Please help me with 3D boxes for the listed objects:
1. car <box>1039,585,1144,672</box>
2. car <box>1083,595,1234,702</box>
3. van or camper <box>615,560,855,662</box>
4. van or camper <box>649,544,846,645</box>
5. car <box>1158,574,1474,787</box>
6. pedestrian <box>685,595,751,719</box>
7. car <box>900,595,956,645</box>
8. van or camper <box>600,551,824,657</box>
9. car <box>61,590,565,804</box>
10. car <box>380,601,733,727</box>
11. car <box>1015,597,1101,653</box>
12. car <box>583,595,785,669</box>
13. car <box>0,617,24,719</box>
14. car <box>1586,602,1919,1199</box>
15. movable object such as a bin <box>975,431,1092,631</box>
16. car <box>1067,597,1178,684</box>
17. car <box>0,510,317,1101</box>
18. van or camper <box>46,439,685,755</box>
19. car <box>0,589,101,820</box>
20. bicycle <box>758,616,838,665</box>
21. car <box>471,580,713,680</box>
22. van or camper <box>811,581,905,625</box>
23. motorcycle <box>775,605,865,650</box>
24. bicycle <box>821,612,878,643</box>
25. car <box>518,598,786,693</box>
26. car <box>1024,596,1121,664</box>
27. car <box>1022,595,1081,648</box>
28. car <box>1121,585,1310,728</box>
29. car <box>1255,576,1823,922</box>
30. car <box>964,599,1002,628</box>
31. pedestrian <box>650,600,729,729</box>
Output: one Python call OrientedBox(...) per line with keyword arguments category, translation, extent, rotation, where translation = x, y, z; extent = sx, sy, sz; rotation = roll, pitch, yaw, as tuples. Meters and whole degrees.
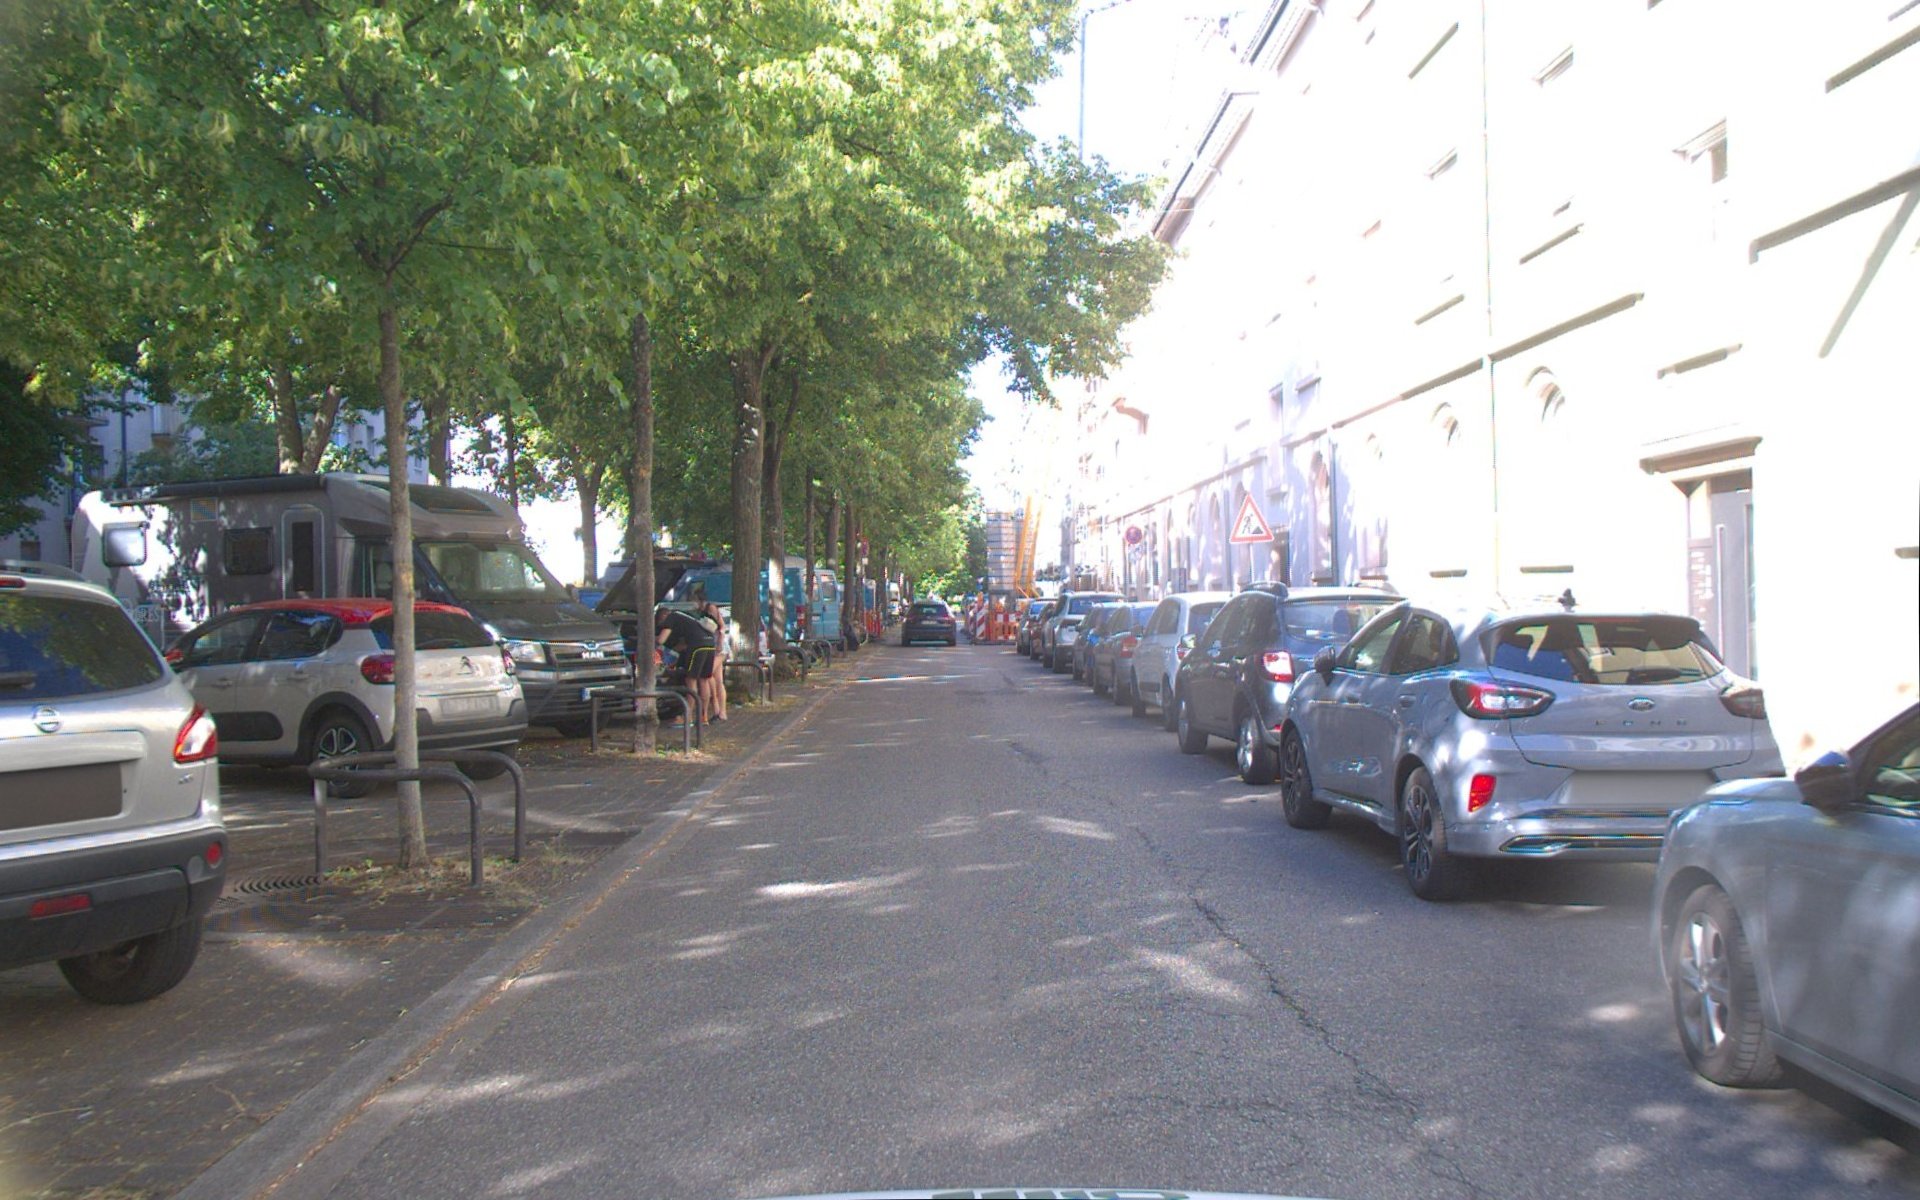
OrientedBox(category="car", translation=(2.741, 0.558, 35.377), extent=(1.779, 1.703, 4.672), rotation=(-1, 0, -1))
OrientedBox(category="car", translation=(2.875, 0.659, 24.737), extent=(1.598, 1.437, 4.087), rotation=(-1, 0, -2))
OrientedBox(category="van or camper", translation=(-5.489, 0.278, 40.307), extent=(5.386, 2.315, 2.220), rotation=(-1, 0, 23))
OrientedBox(category="van or camper", translation=(-7.441, -0.161, 57.628), extent=(6.528, 3.297, 2.492), rotation=(-1, 0, 28))
OrientedBox(category="car", translation=(3.026, 0.613, 14.954), extent=(1.688, 1.624, 4.155), rotation=(-1, 0, -4))
OrientedBox(category="pedestrian", translation=(-2.945, 0.685, 20.145), extent=(0.602, 1.481, 0.519), rotation=(-1, 0, 22))
OrientedBox(category="car", translation=(-1.072, 0.632, 54.565), extent=(1.761, 1.530, 3.584), rotation=(-1, 0, -2))
OrientedBox(category="van or camper", translation=(-6.699, 0.130, 44.535), extent=(5.756, 2.683, 2.252), rotation=(-1, 0, 29))
OrientedBox(category="car", translation=(-5.382, 0.736, 13.712), extent=(3.910, 1.533, 1.755), rotation=(-1, 0, 28))
OrientedBox(category="car", translation=(-5.103, 0.766, 20.847), extent=(4.230, 1.449, 1.674), rotation=(-1, 0, 26))
OrientedBox(category="car", translation=(2.636, 0.637, 45.343), extent=(1.953, 1.434, 4.499), rotation=(0, 0, -2))
OrientedBox(category="car", translation=(-5.804, 0.668, 34.797), extent=(3.867, 1.468, 1.844), rotation=(-1, 0, 27))
OrientedBox(category="car", translation=(-15.289, 1.043, 23.709), extent=(1.630, 1.525, 3.769), rotation=(-1, 0, -1))
OrientedBox(category="car", translation=(3.202, 0.751, 4.042), extent=(1.687, 1.457, 4.157), rotation=(-1, 0, -1))
OrientedBox(category="movable object such as a bin", translation=(2.610, -2.374, 58.717), extent=(3.415, 6.878, 2.363), rotation=(-1, 0, 32))
OrientedBox(category="car", translation=(2.873, 0.688, 29.887), extent=(1.585, 1.437, 3.787), rotation=(-1, 0, -1))
OrientedBox(category="car", translation=(-4.451, 0.615, 5.964), extent=(4.054, 1.709, 1.757), rotation=(-1, 0, 28))
OrientedBox(category="van or camper", translation=(-6.640, 0.027, 18.186), extent=(7.084, 2.981, 2.312), rotation=(-1, 0, 26))
OrientedBox(category="car", translation=(-7.974, 0.736, 11.835), extent=(3.469, 1.533, 1.753), rotation=(-1, 0, 33))
OrientedBox(category="bicycle", translation=(-3.583, 0.889, 36.660), extent=(1.702, 1.023, 0.506), rotation=(-1, 0, -31))
OrientedBox(category="car", translation=(-7.079, 0.556, 31.720), extent=(4.460, 1.795, 1.807), rotation=(-1, 0, 30))
OrientedBox(category="van or camper", translation=(-6.120, 0.199, 99.326), extent=(5.235, 2.518, 2.289), rotation=(-1, 0, 31))
OrientedBox(category="motorcycle", translation=(-4.103, 0.795, 48.518), extent=(2.495, 1.280, 0.763), rotation=(-1, 0, 7))
OrientedBox(category="bicycle", translation=(-3.675, 0.911, 54.974), extent=(1.858, 1.024, 0.430), rotation=(-1, 0, 23))
OrientedBox(category="car", translation=(-5.193, 0.731, 27.707), extent=(4.393, 1.468, 1.728), rotation=(-1, 0, 32))
OrientedBox(category="car", translation=(2.721, 0.692, 40.773), extent=(1.756, 1.550, 3.959), rotation=(-1, 0, -5))
OrientedBox(category="car", translation=(2.758, 0.628, 50.293), extent=(1.560, 1.557, 2.779), rotation=(0, 0, -2))
OrientedBox(category="car", translation=(3.017, 0.617, 20.148), extent=(1.598, 1.561, 3.591), rotation=(-1, 0, -2))
OrientedBox(category="car", translation=(3.050, 0.675, 9.703), extent=(1.688, 1.555, 4.155), rotation=(-1, 0, -3))
OrientedBox(category="car", translation=(1.151, 0.663, 84.067), extent=(1.761, 1.409, 3.584), rotation=(-1, 0, -2))
OrientedBox(category="pedestrian", translation=(-3.203, 0.756, 19.580), extent=(0.695, 1.481, 0.596), rotation=(-1, 0, 22))
